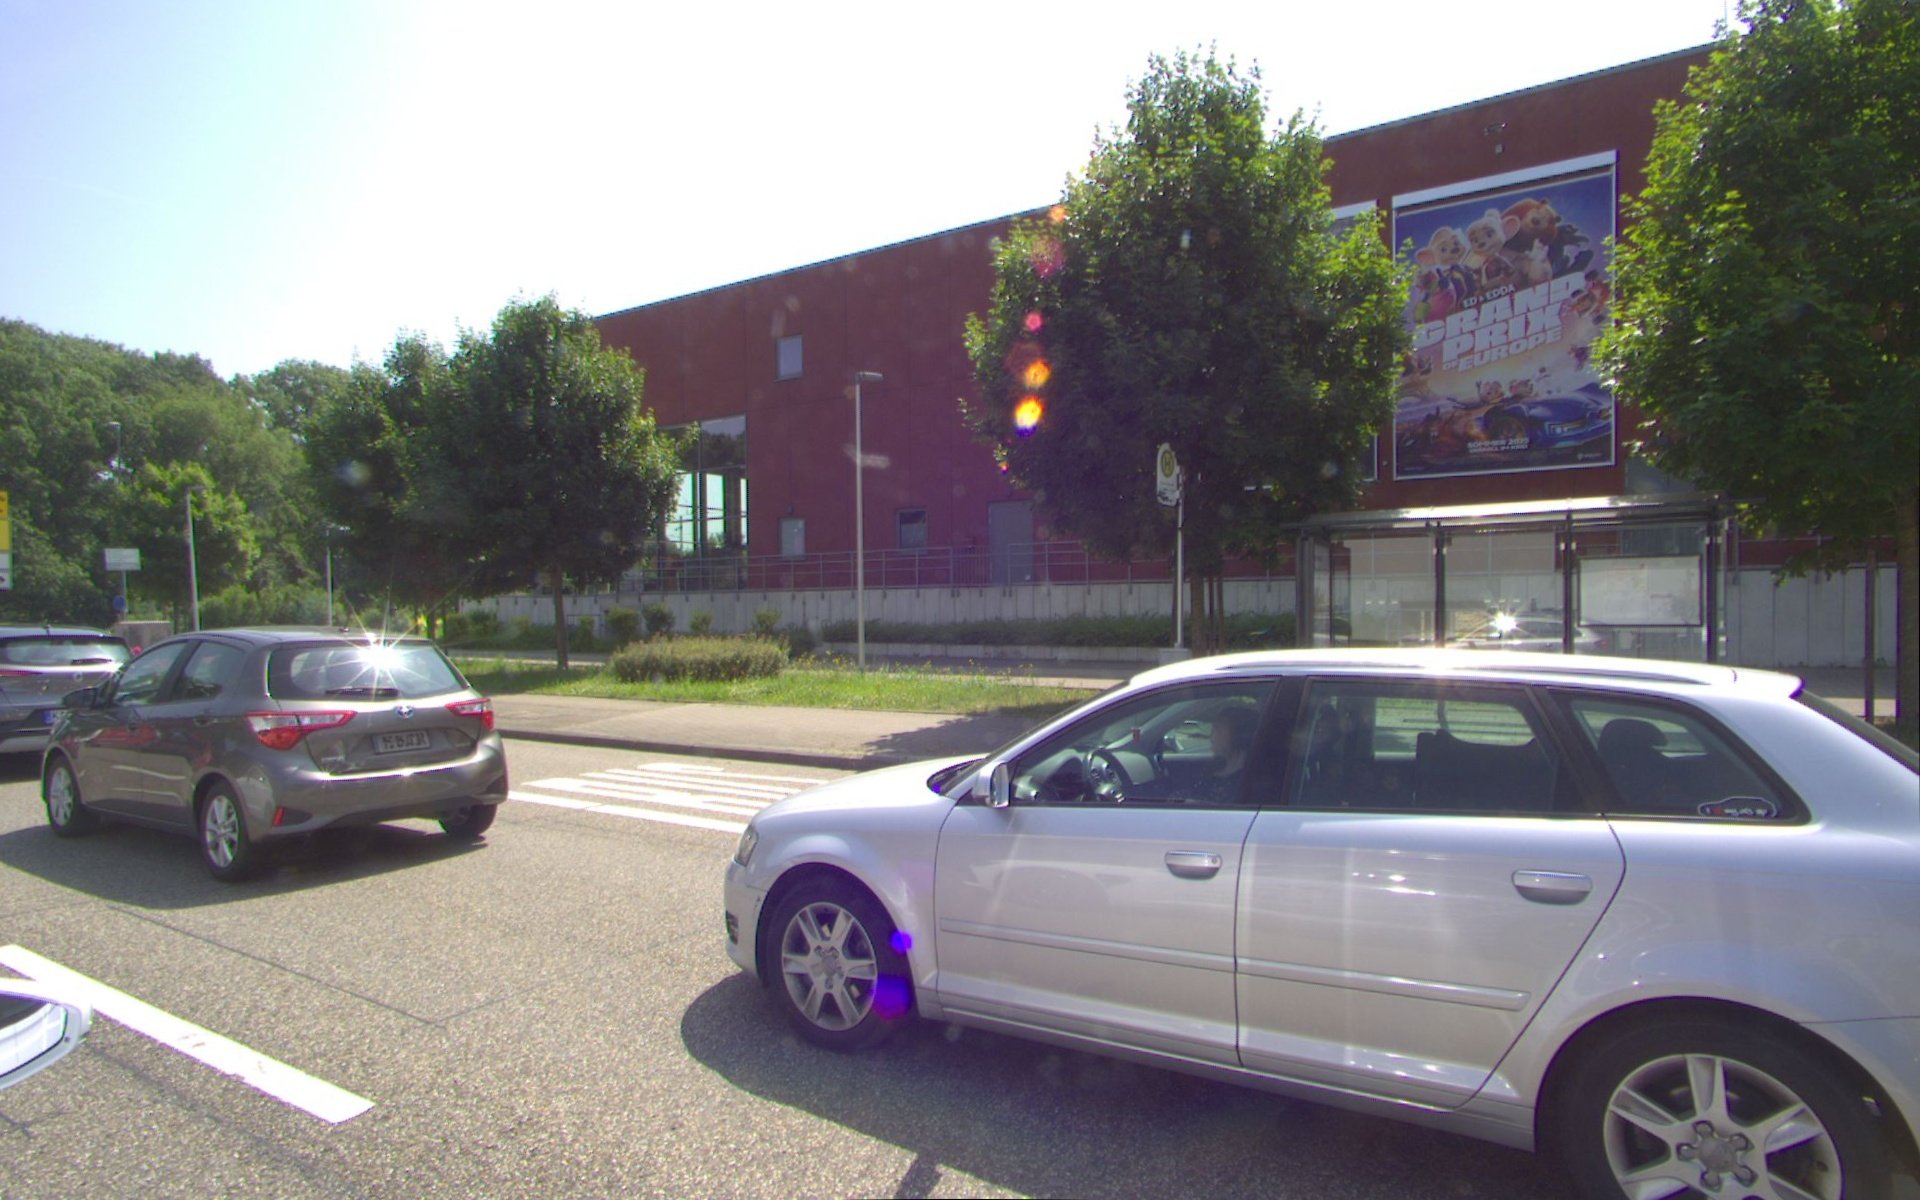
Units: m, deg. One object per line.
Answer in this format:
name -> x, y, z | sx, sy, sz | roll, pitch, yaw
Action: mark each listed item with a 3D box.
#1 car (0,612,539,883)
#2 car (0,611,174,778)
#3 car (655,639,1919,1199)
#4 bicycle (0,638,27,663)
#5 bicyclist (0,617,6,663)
car -> -5.137, 0.895, 7.321 | 4.031, 1.496, 1.711 | -1, -4, 31
car -> -10.706, 0.948, 11.177 | 4.031, 1.614, 1.709 | -1, -1, 31
car -> 0.973, 0.845, 3.618 | 4.031, 1.379, 1.710 | -1, -2, 31
bicycle -> -30.992, 1.631, 31.894 | 1.793, 0.776, 0.600 | -1, 0, -13
bicyclist -> -31.093, 1.281, 31.875 | 0.814, 1.458, 0.598 | -1, 1, -13
